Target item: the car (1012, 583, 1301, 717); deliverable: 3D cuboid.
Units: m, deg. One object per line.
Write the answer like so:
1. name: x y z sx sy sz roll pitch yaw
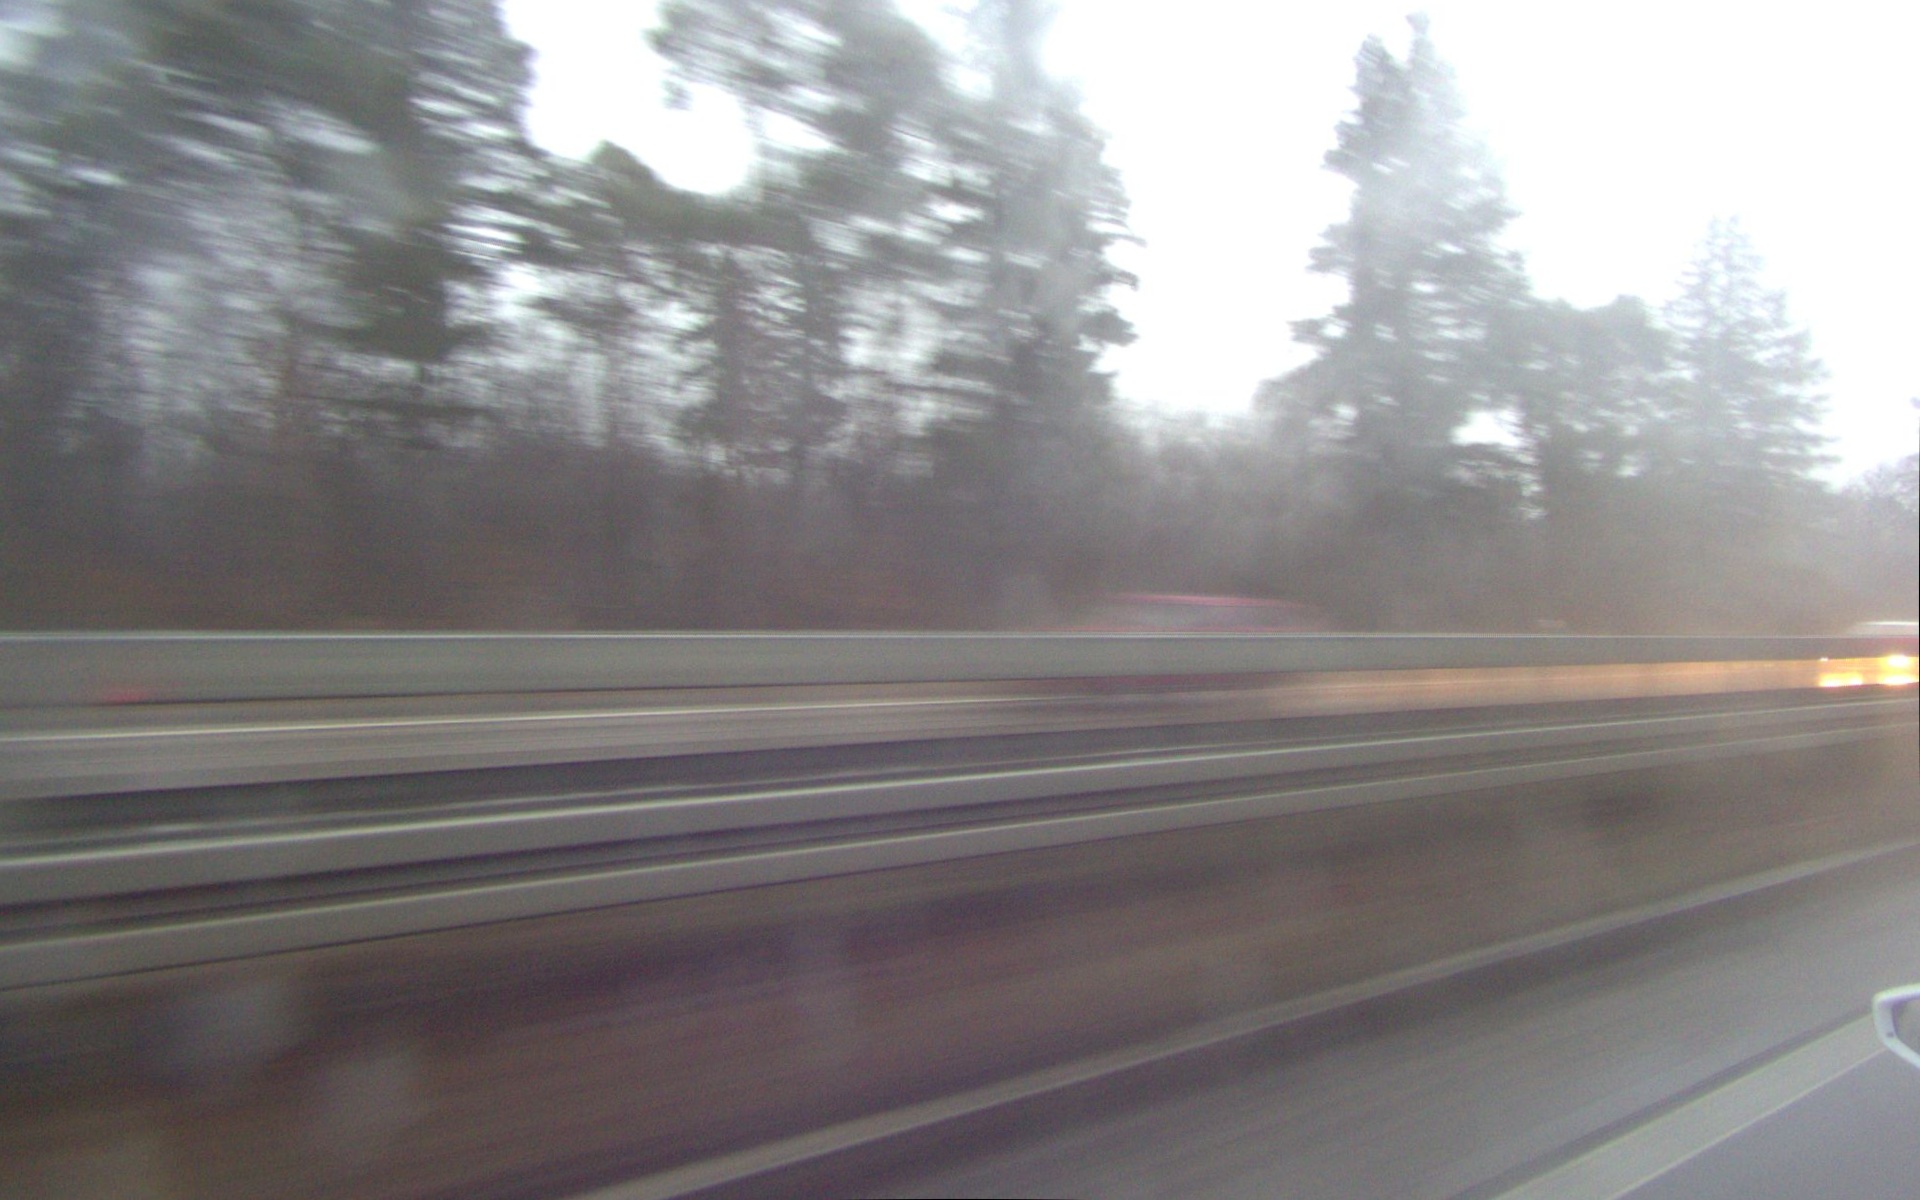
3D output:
1. car: 2.898 0.668 14.623 3.954 1.713 1.803 1 0 -31

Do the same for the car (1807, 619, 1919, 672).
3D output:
1. car: 27.199 1.327 30.017 3.998 1.460 1.783 1 0 -33
